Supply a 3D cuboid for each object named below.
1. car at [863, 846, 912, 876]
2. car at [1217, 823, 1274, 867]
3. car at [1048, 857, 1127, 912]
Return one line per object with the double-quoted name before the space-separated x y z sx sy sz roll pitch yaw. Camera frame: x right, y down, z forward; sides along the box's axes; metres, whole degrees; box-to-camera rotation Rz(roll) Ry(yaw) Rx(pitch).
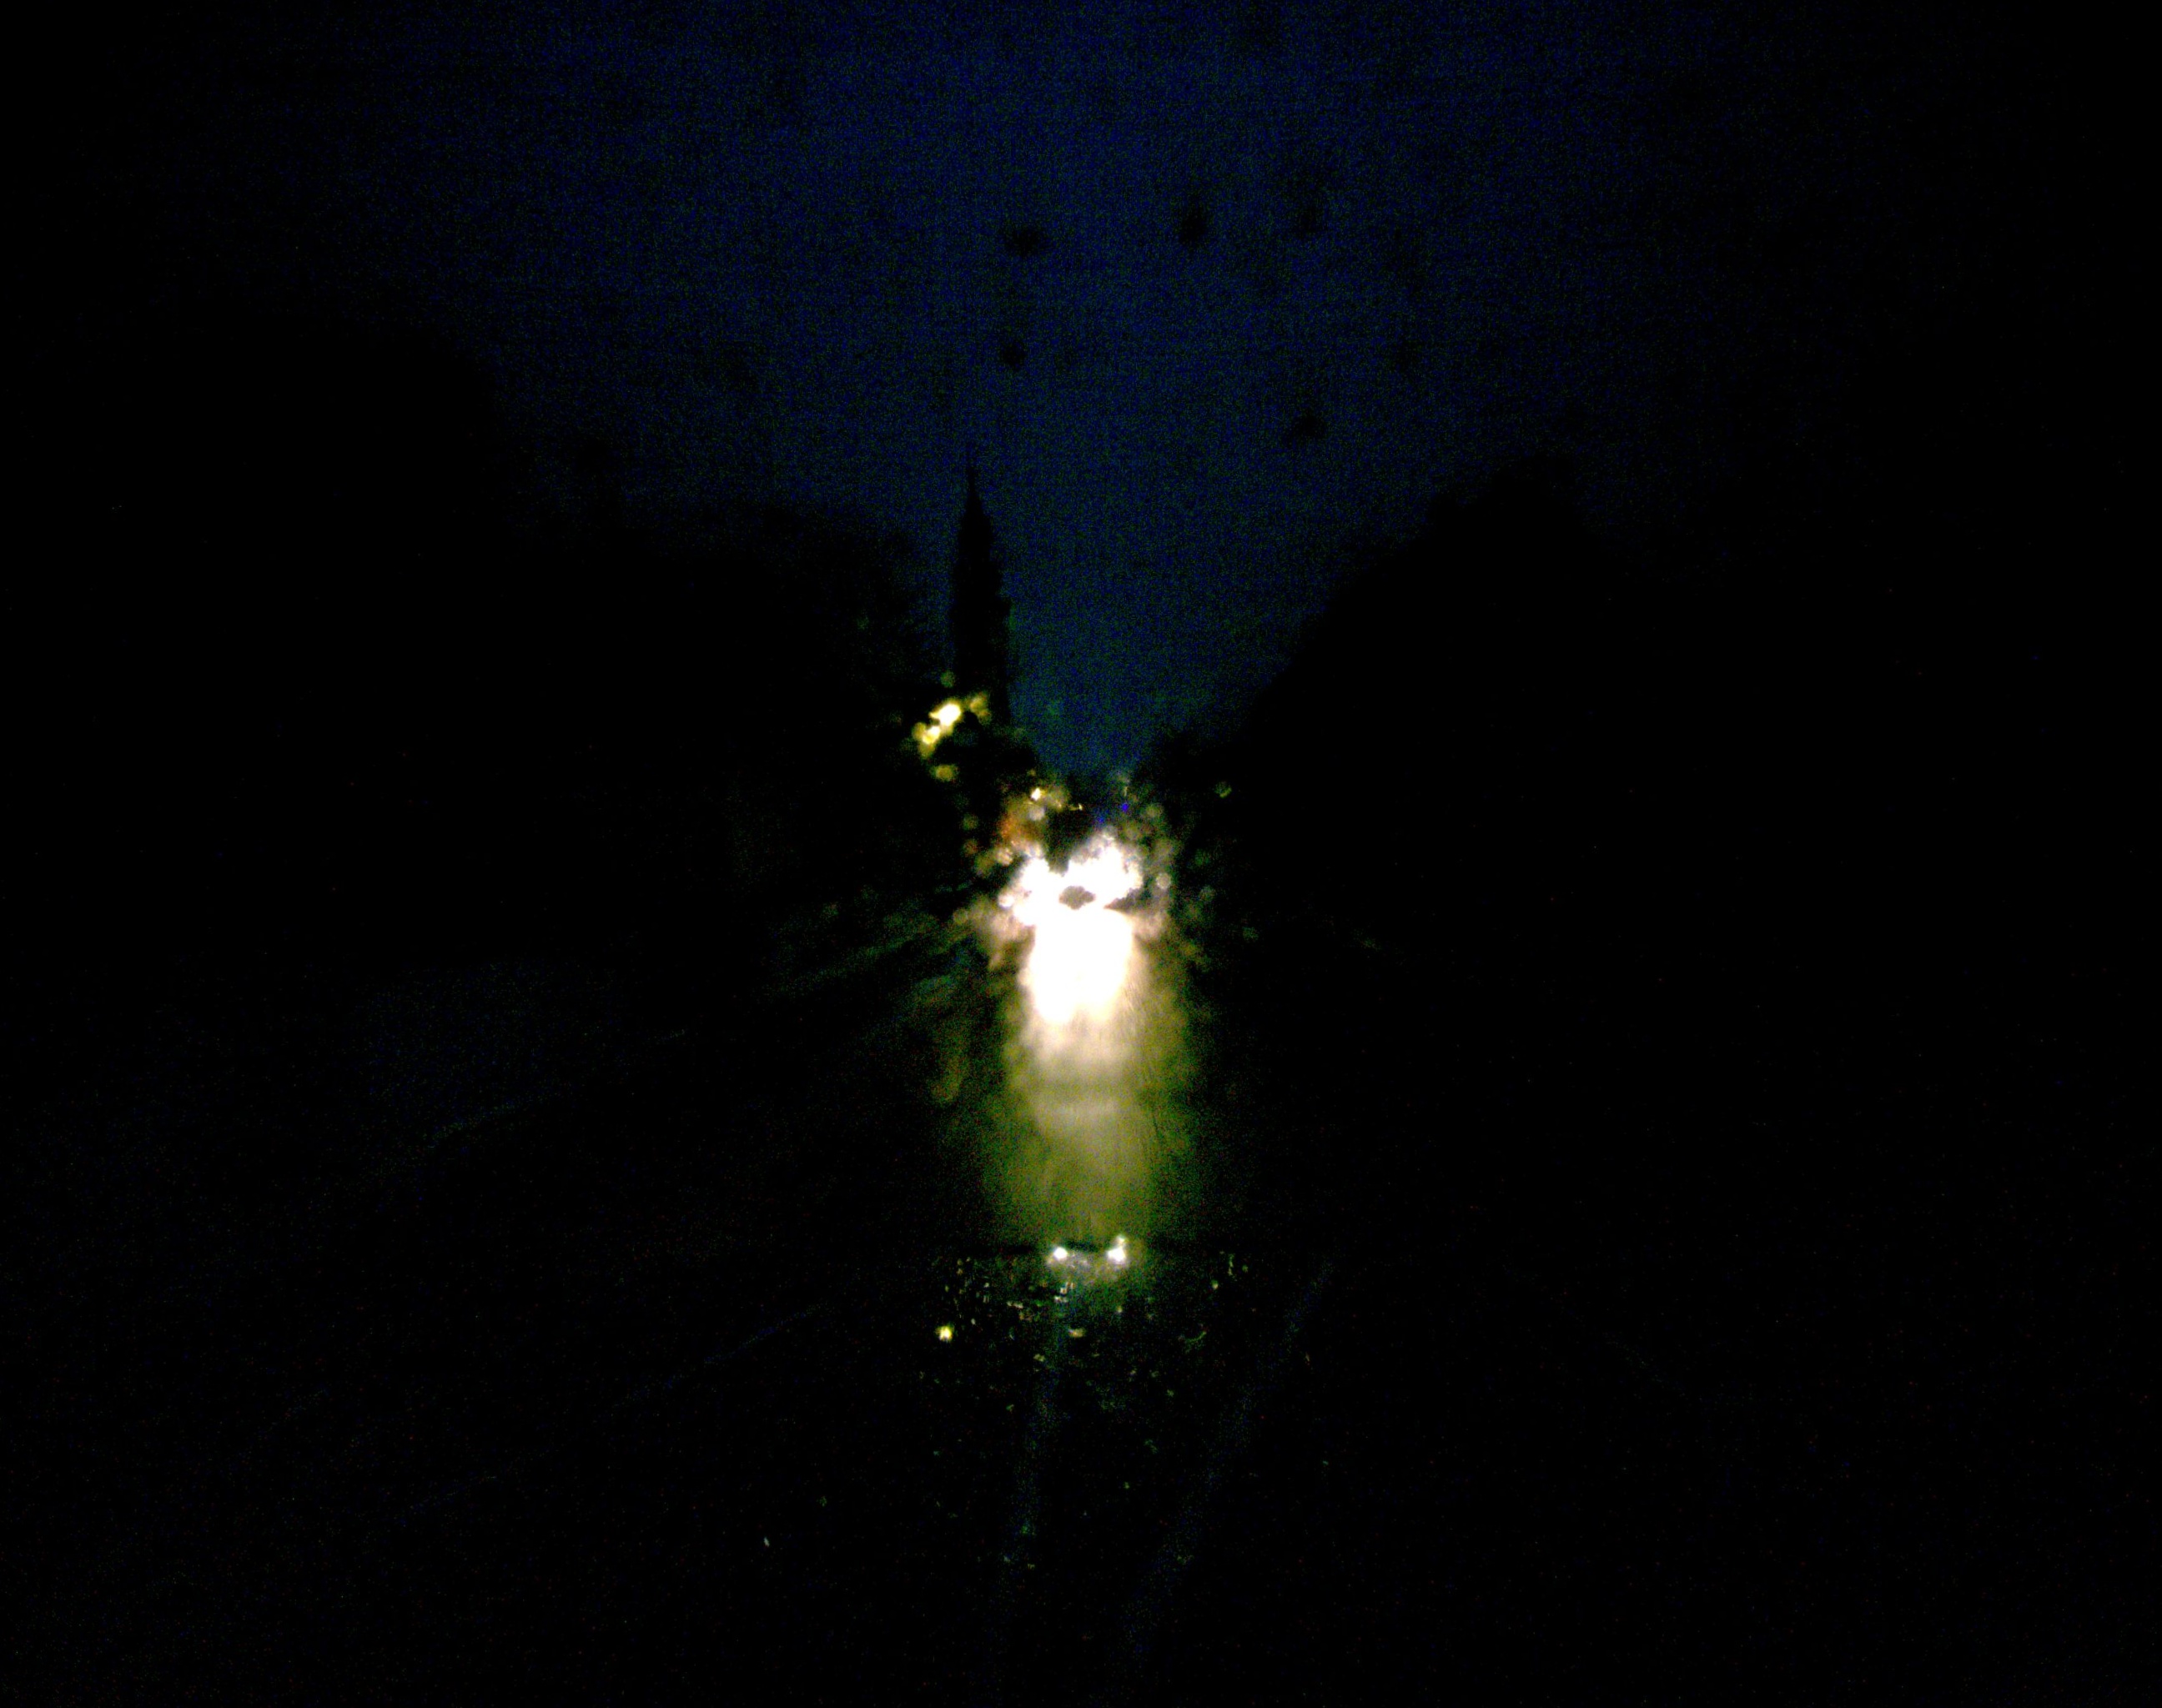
"car" -10.882 0.340 42.652 1.758 1.405 4.071 -2 3 -27
"car" 8.589 -0.497 39.961 1.998 2.026 4.081 -6 1 2
"car" 0.070 0.774 21.783 1.999 1.373 4.933 -1 0 -2
